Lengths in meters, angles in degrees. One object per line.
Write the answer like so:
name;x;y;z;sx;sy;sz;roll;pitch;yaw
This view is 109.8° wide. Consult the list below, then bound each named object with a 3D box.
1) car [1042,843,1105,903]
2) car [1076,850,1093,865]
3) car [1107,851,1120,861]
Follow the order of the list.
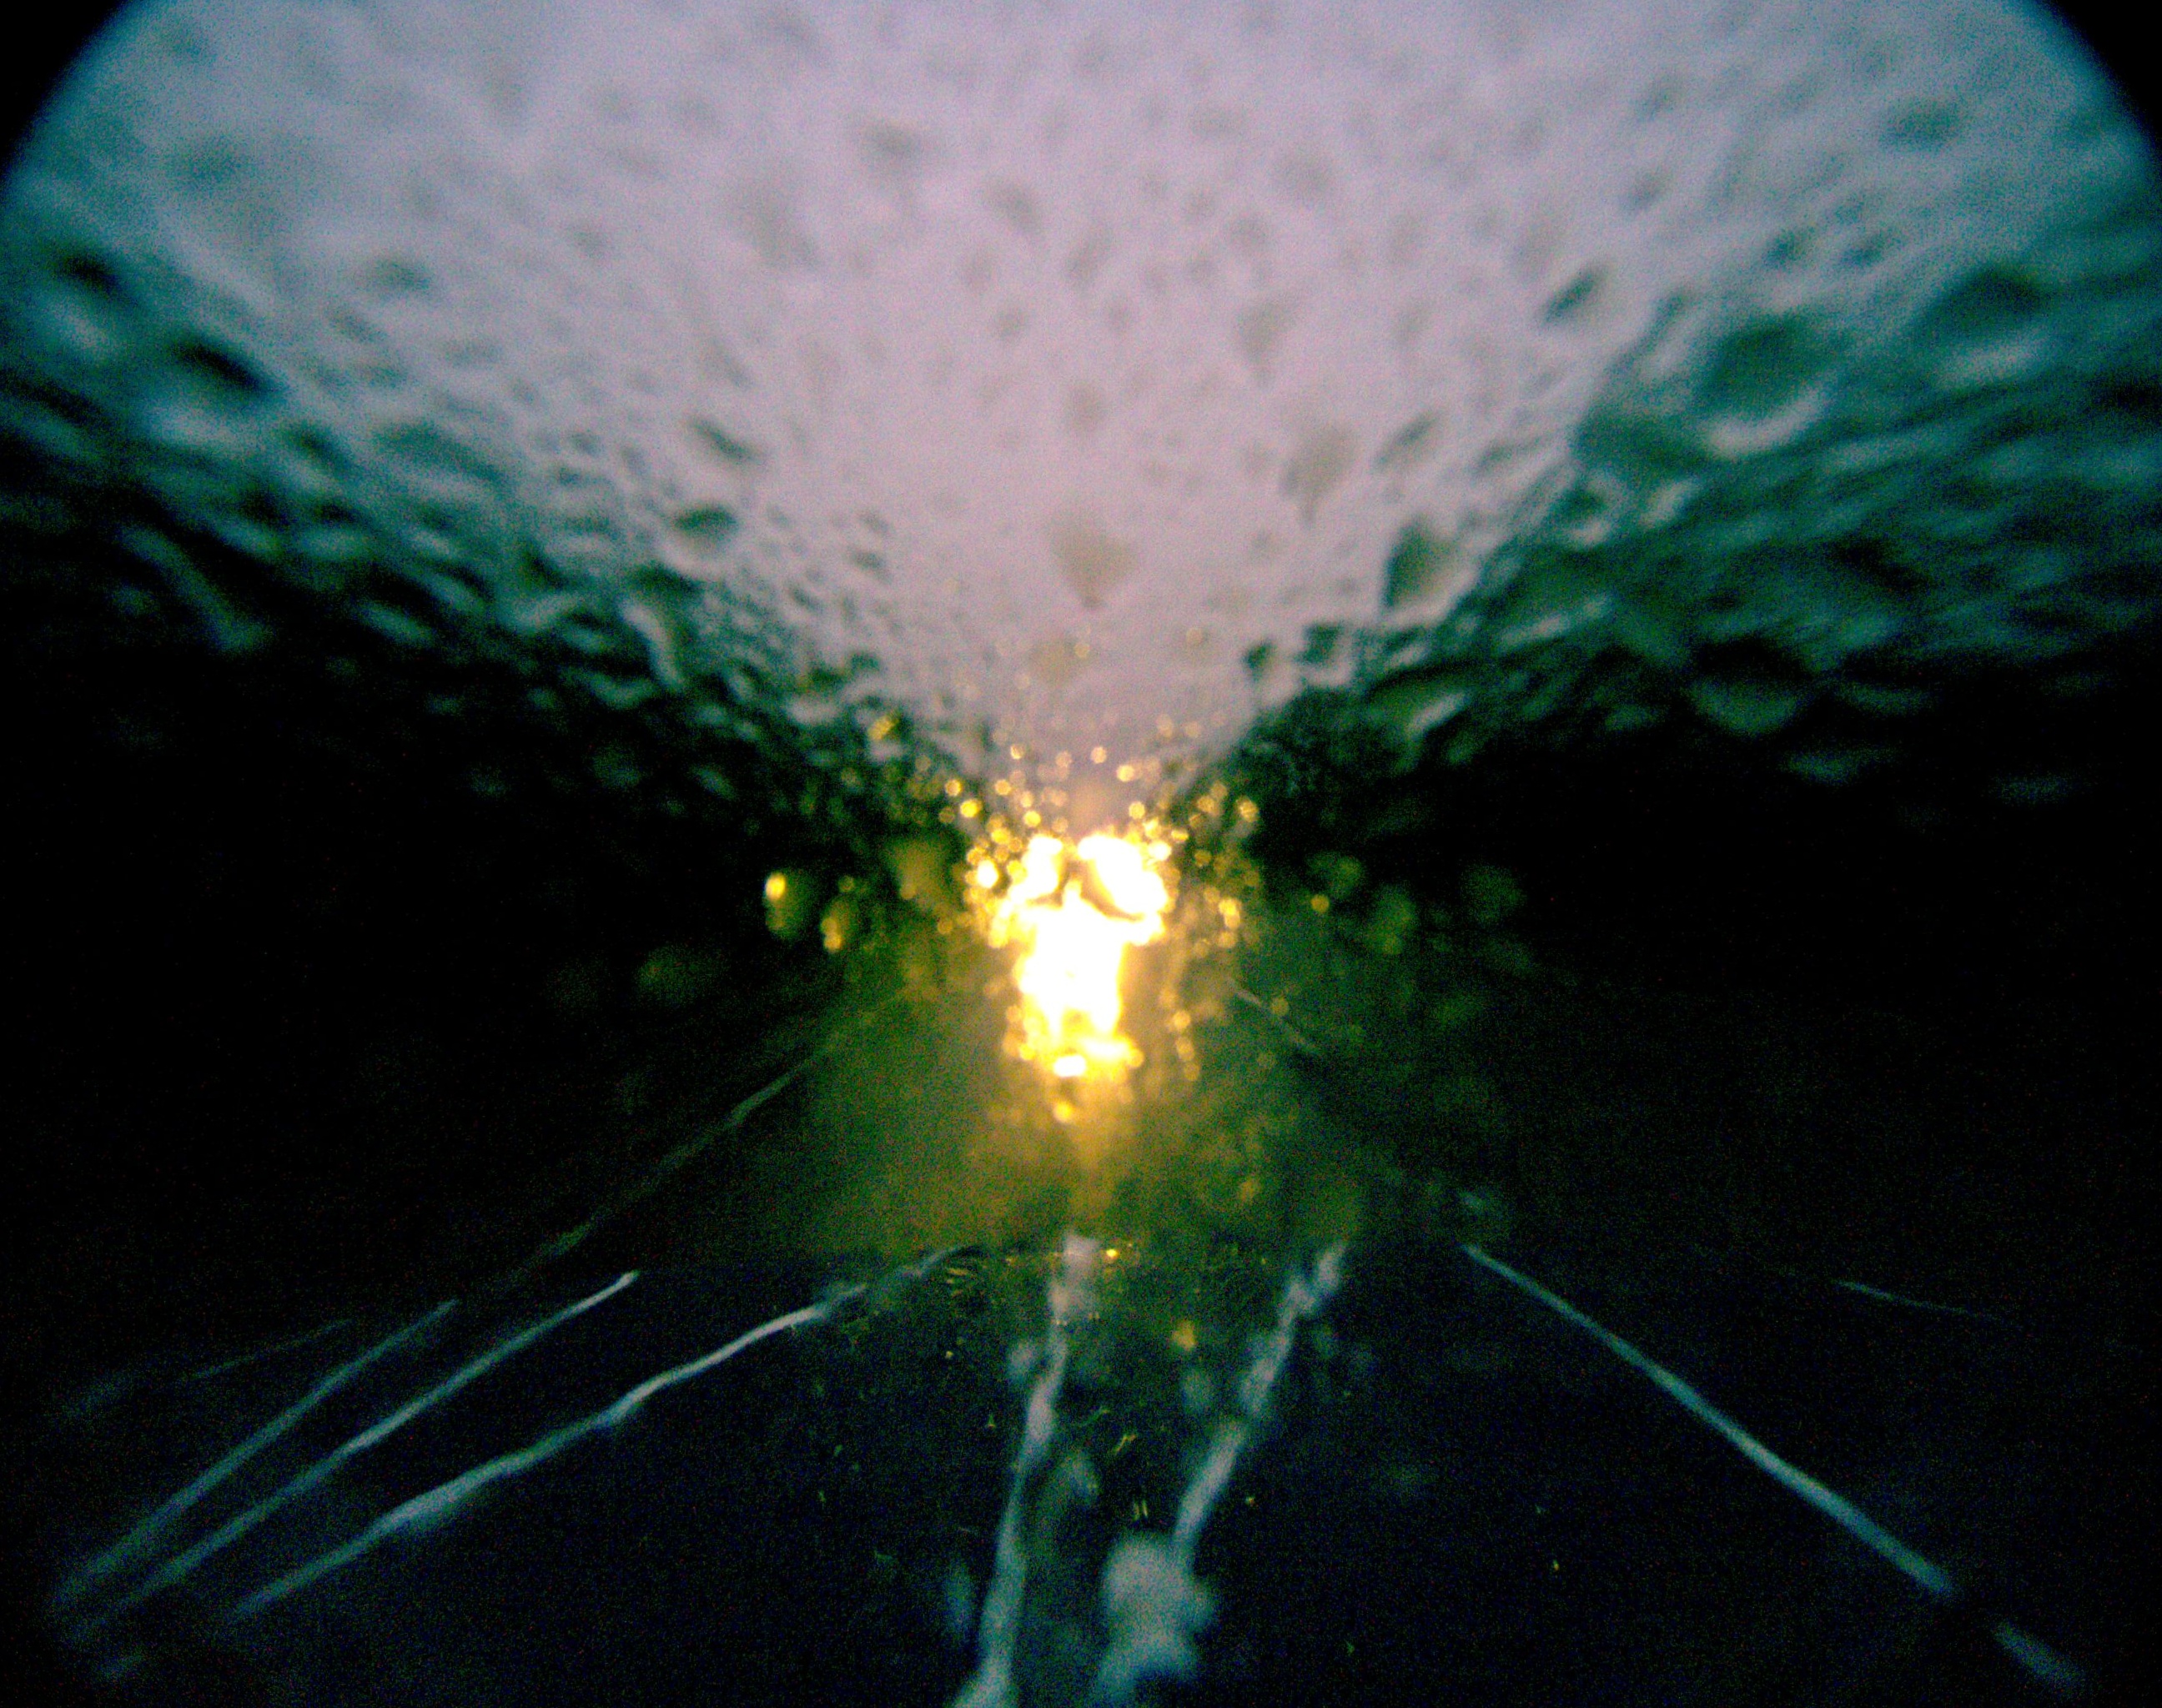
car;-0.145;0.526;24.061;1.572;1.701;4.001;-2;1;5
car;0.441;0.403;93.696;1.998;1.752;4.371;-2;1;1
car;5.262;0.270;124.279;1.877;1.597;4.195;-1;0;0
